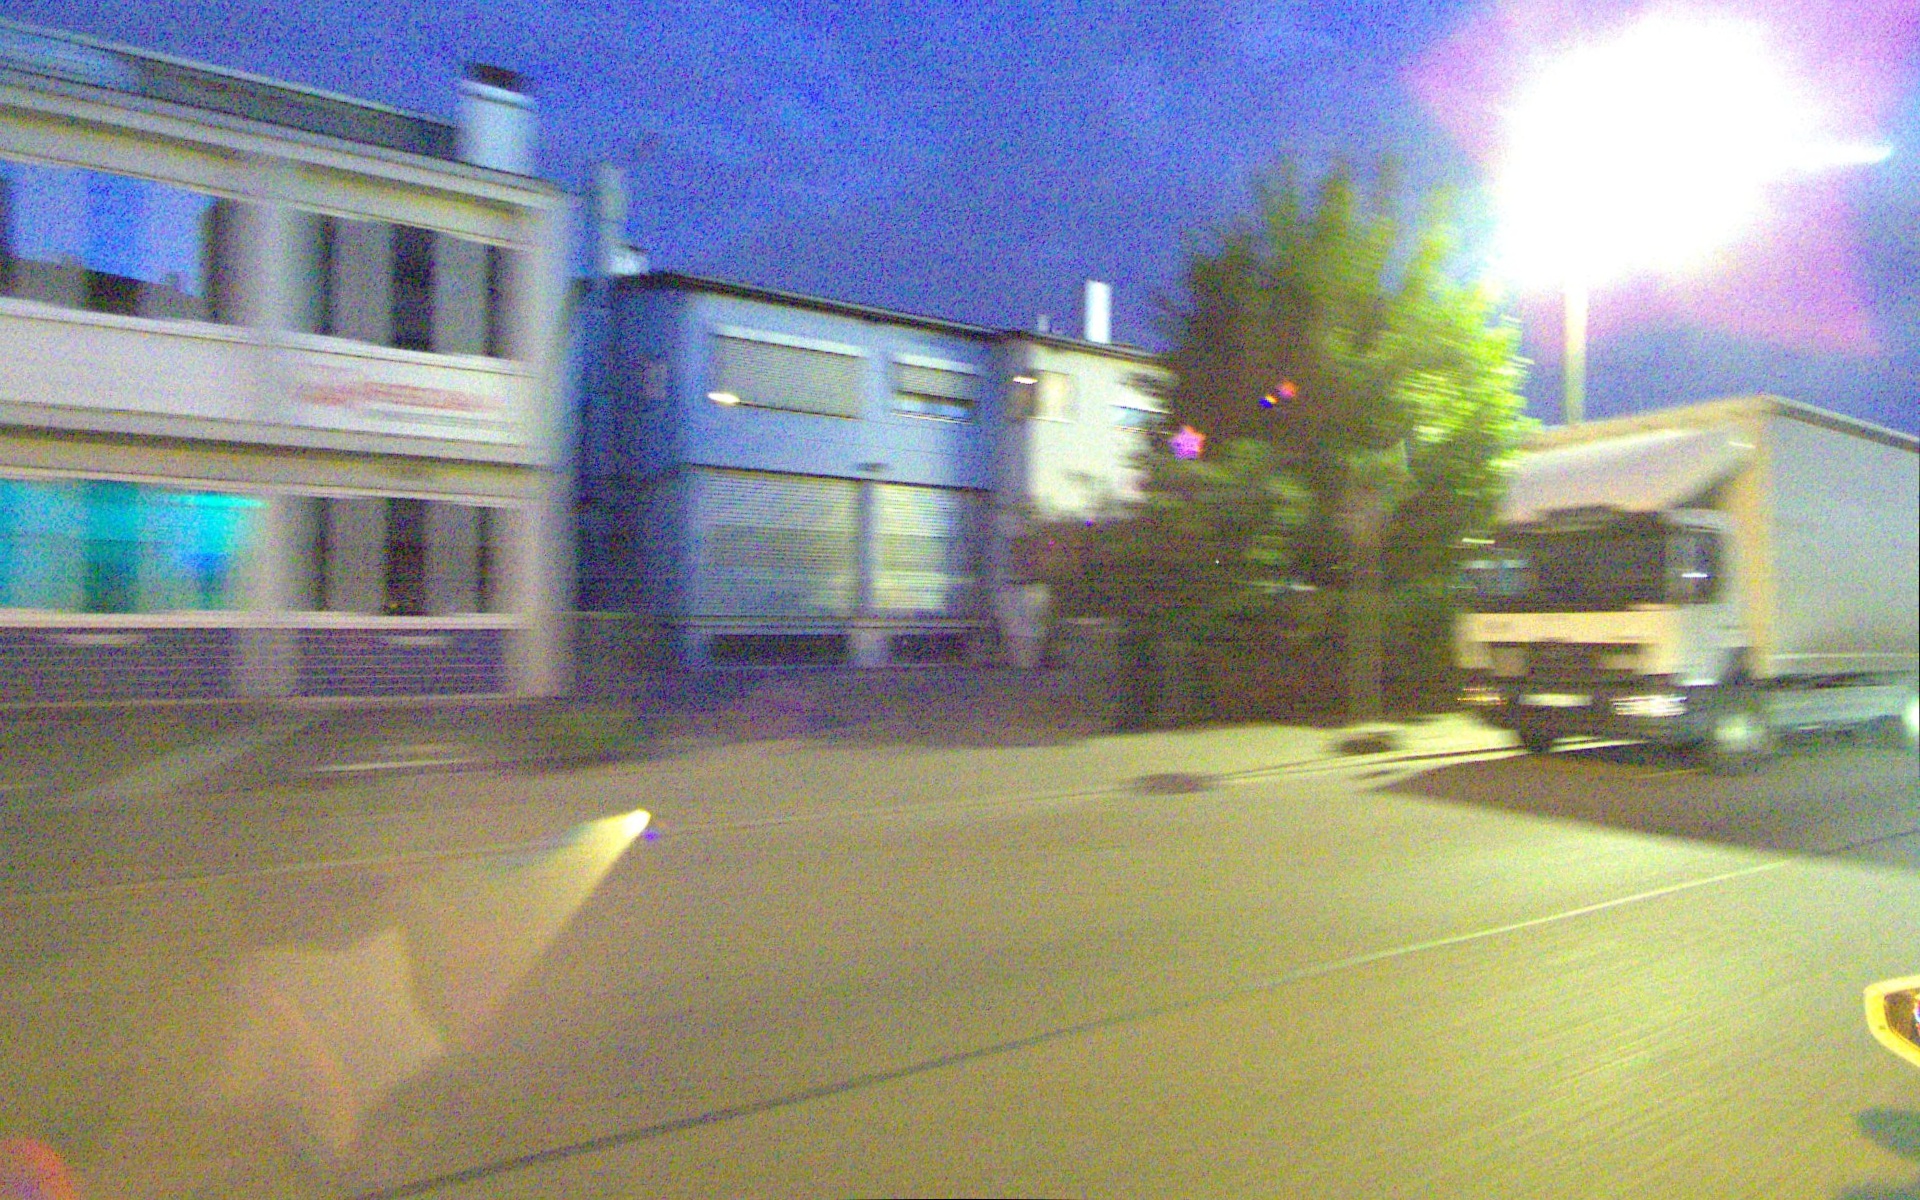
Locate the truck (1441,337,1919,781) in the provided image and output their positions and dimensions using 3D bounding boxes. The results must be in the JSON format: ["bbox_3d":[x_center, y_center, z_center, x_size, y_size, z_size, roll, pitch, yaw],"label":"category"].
[{"bbox_3d":[10.293,-0.263,12.915,9.452,4.087,2.732,1,-1,-32],"label":"truck"}]
